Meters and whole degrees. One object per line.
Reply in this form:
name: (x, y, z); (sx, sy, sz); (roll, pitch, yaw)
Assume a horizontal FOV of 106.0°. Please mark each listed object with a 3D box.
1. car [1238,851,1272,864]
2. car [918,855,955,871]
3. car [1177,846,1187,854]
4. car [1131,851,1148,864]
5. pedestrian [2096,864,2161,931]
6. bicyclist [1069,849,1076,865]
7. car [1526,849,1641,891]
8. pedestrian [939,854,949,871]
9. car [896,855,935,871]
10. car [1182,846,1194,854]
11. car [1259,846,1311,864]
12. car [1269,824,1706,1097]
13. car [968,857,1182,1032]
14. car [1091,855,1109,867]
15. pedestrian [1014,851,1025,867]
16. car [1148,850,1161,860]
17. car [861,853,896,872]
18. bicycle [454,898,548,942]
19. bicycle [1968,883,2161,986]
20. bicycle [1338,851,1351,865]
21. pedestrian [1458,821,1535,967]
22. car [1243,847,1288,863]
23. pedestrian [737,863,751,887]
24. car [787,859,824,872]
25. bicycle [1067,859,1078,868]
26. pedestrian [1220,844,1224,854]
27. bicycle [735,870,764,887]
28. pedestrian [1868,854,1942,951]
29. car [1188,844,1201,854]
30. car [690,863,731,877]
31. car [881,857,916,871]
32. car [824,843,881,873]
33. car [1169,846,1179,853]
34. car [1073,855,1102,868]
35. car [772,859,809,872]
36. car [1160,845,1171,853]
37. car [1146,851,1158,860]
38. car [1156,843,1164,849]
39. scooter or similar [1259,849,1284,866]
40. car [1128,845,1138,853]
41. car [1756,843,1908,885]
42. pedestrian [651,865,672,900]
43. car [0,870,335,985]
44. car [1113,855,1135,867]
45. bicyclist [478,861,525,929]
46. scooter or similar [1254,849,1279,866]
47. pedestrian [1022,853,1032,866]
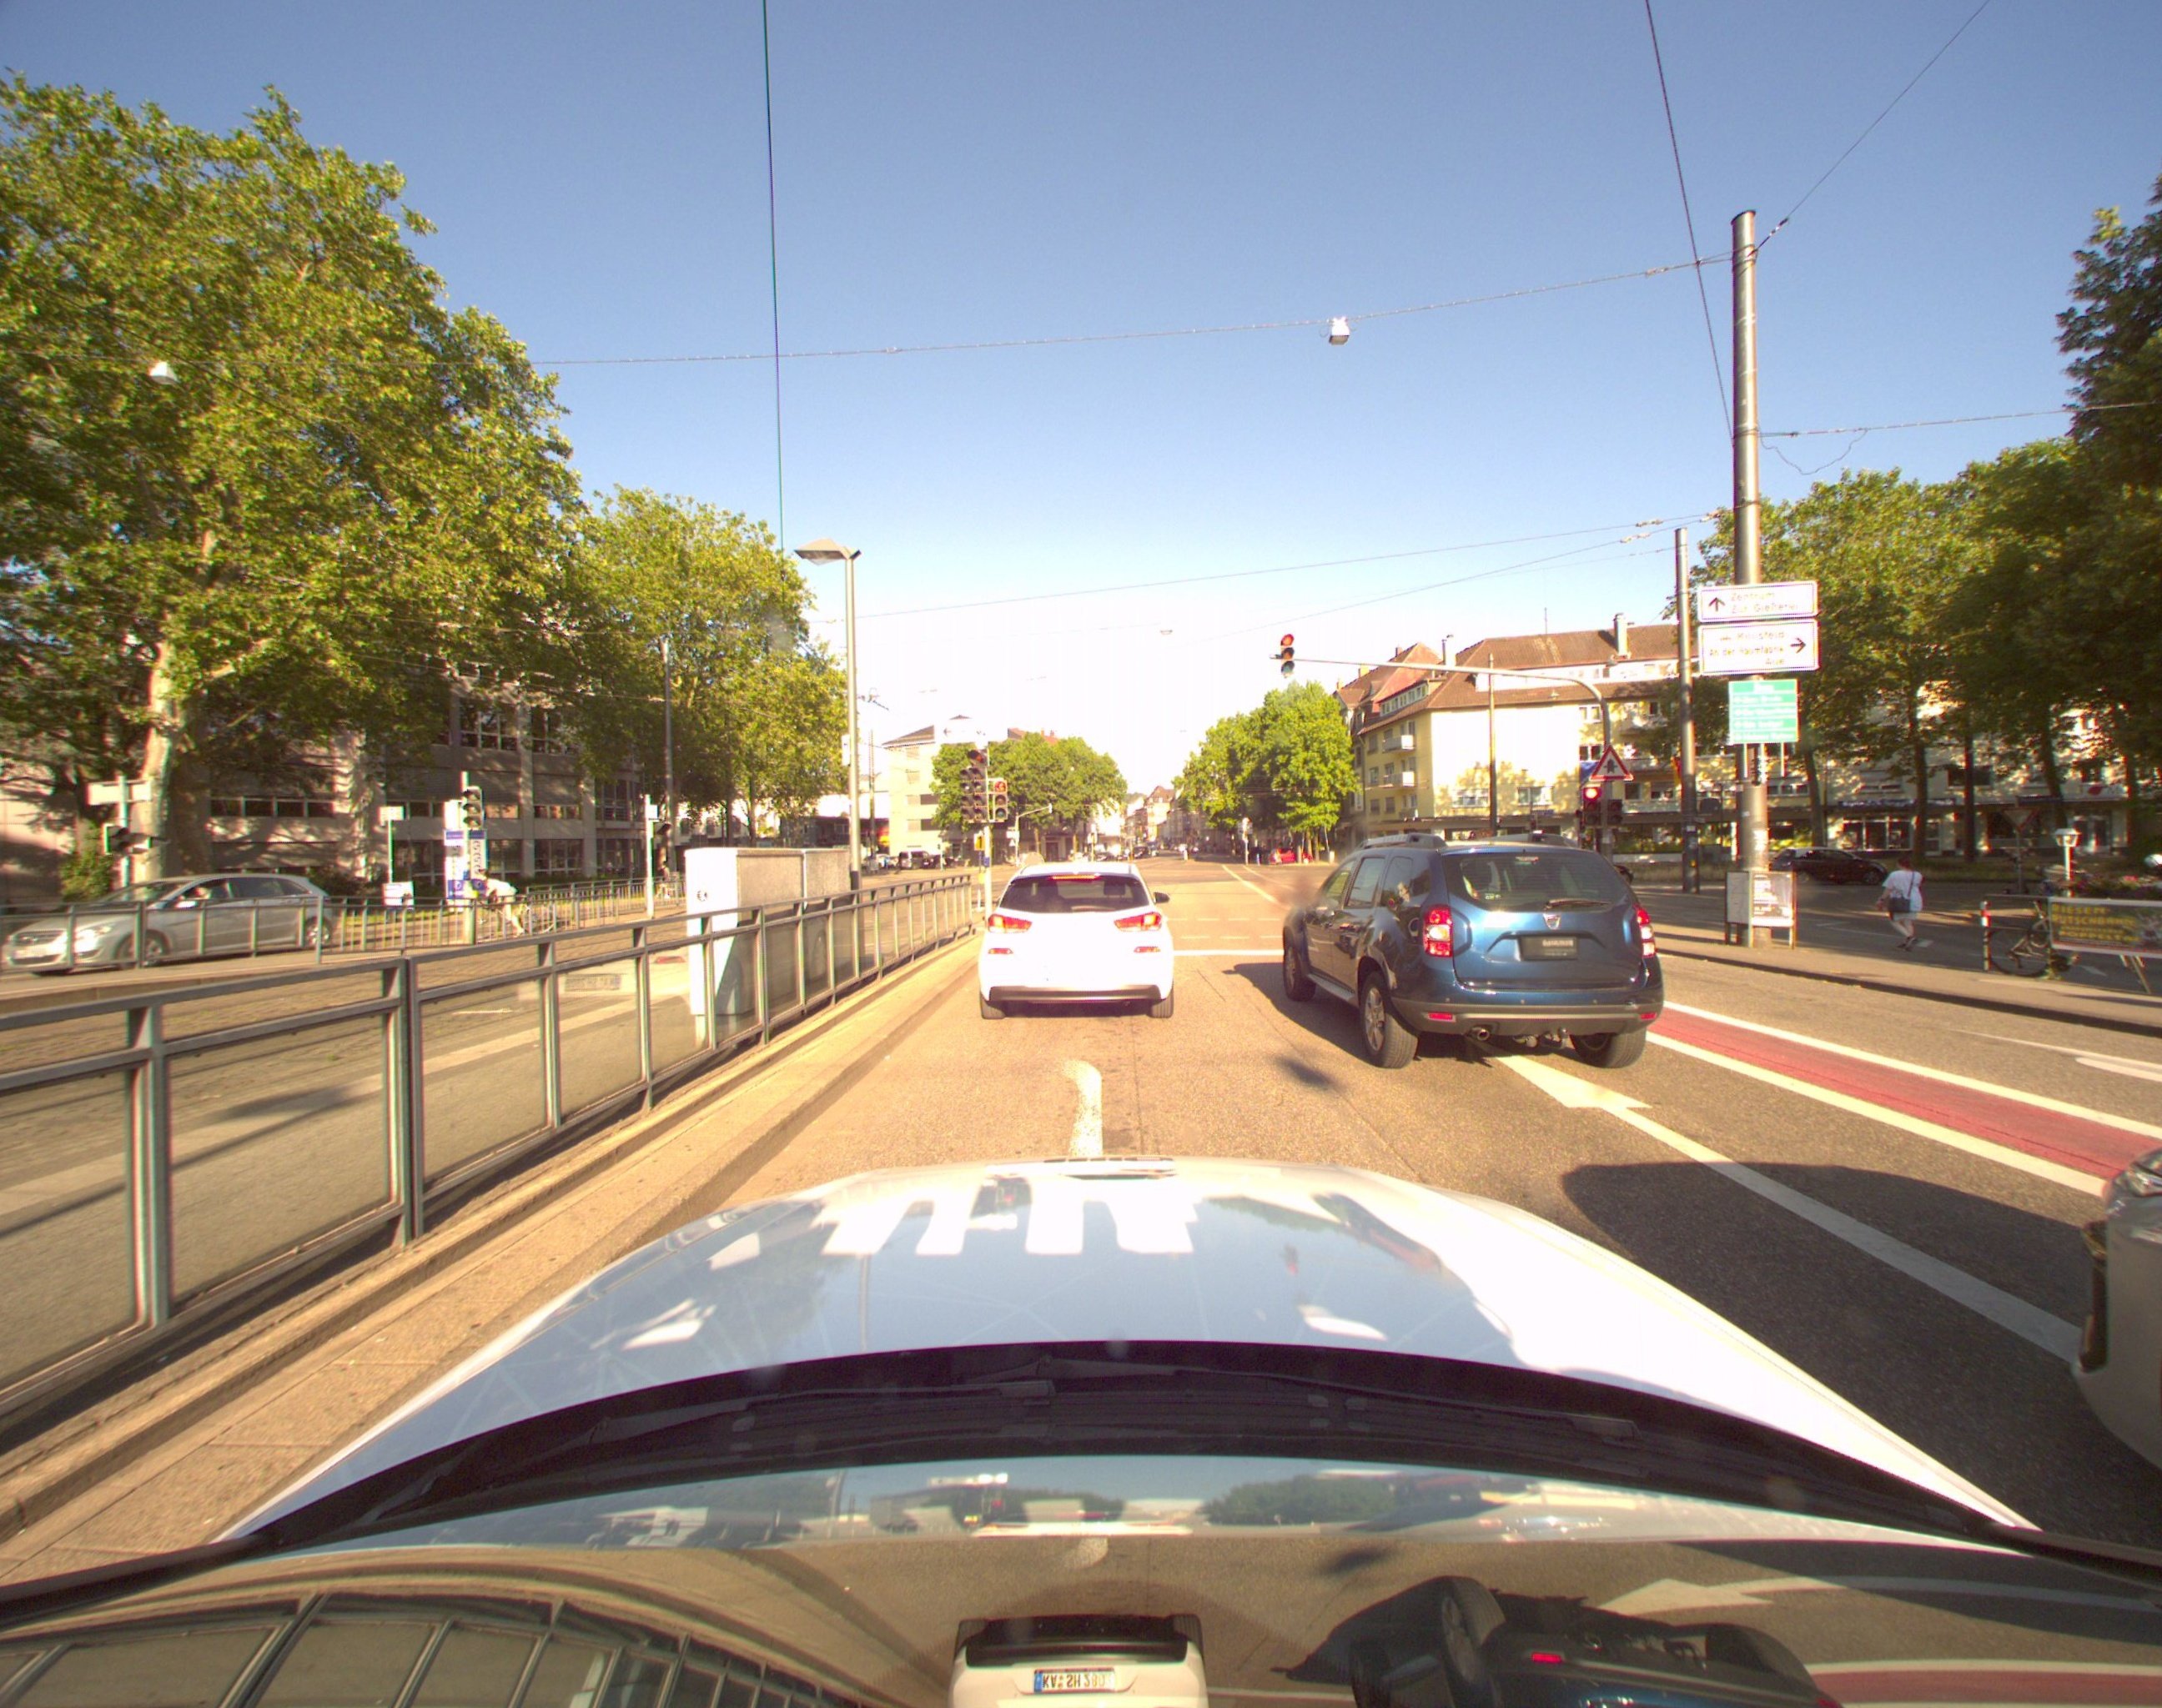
car: (20.288, 0.394, 95.091); (4.021, 1.510, 1.779); (-1, 0, -40)
car: (-15.461, 0.921, 87.245); (1.904, 1.649, 4.203); (-1, 0, 23)
car: (20.515, -0.865, 165.641); (1.787, 1.510, 4.002); (-1, 0, 2)
car: (8.402, 0.507, 116.978); (1.782, 1.826, 4.014); (-1, 0, 12)
pedestrian: (21.731, 0.895, 16.856); (0.645, 1.338, 0.632); (1, 0, 2)
bicyclist: (-0.921, 0.341, 91.351); (0.463, 1.745, 0.721); (-1, 0, 25)
car: (19.004, 0.555, 30.792); (4.051, 1.438, 1.792); (-1, 1, -25)
pedestrian: (-13.989, 0.849, 83.167); (0.642, 1.661, 0.654); (-1, 0, 23)
car: (-17.880, 0.985, 88.017); (1.777, 1.649, 4.035); (-1, 0, 31)
car: (20.973, -0.854, 159.463); (1.787, 1.510, 4.002); (-1, 0, 2)
car: (17.651, 0.093, 70.447); (3.983, 1.510, 1.796); (-1, 0, -7)
car: (2.936, 0.644, 6.971); (1.793, 1.638, 4.046); (-1, 0, 1)
car: (0.003, 0.779, 8.904); (1.801, 1.452, 4.001); (-1, 0, 1)
car: (2.400, 0.871, 101.631); (1.784, 1.510, 4.010); (-2, -1, 9)
pedestrian: (-6.733, 0.528, 88.980); (0.828, 1.771, 0.787); (-1, 0, 27)
car: (11.797, 0.210, 131.519); (1.788, 1.510, 4.001); (-1, 0, 1)
car: (-22.624, 0.909, 91.063); (1.779, 1.955, 4.021); (-1, 0, 21)
bicycle: (-12.553, 1.421, 17.673); (1.623, 0.816, 0.522); (-1, 0, -34)
bicycle: (11.853, 0.910, 9.762); (0.496, 1.075, 1.801); (0, -1, 2)
bicycle: (20.809, 0.298, 64.401); (0.606, 1.107, 1.803); (-1, 0, 6)
pedestrian: (5.529, 0.520, 10.866); (0.654, 1.871, 0.678); (-1, 0, 1)
car: (18.329, 0.070, 80.922); (3.979, 1.510, 1.797); (-1, 0, -4)
pedestrian: (-23.237, 1.439, 56.184); (0.645, 1.661, 0.651); (-1, 0, 4)
car: (-32.340, 1.345, 95.785); (1.778, 1.510, 4.023); (-1, 0, 26)
bicycle: (-0.908, 1.036, 91.346); (0.463, 0.956, 1.777); (-1, 0, 25)
pedestrian: (25.019, -0.911, 144.350); (0.643, 1.651, 0.652); (0, -1, 12)
bicycle: (-23.049, 1.710, 56.657); (1.786, 1.107, 0.501); (-1, 0, 4)
pedestrian: (13.729, 0.788, 13.582); (0.642, 1.563, 0.635); (1, 0, 21)
car: (21.289, -0.990, 152.920); (2.097, 1.776, 4.343); (-1, 0, 2)
car: (-40.703, 1.732, 89.447); (3.952, 1.510, 1.810); (-1, 0, 23)
car: (-20.161, 1.083, 90.096); (1.779, 1.510, 4.031); (-1, 0, 21)
car: (-25.718, 0.408, 92.146); (2.473, 3.165, 6.573); (-1, 0, 25)
car: (21.122, -1.029, 184.879); (1.787, 1.522, 4.002); (-1, 0, 2)
car: (0.786, 0.885, 95.678); (1.707, 1.510, 3.899); (-2, -1, 27)
car: (-34.687, 1.379, 97.214); (1.778, 1.510, 4.023); (-1, 0, 26)
car: (21.711, -1.185, 209.906); (2.318, 2.013, 4.978); (-1, 0, 2)
car: (12.137, 0.210, 139.503); (1.788, 1.510, 4.001); (-1, 0, 1)
car: (20.942, -2.007, 215.402); (1.787, 1.510, 4.002); (-1, 0, 2)
scooter or similar: (15.224, 0.288, 65.195); (1.926, 1.280, 0.557); (-1, 0, 43)
car: (9.863, -1.006, 154.507); (1.788, 1.510, 4.001); (-1, 0, 1)
car: (28.773, 0.362, 31.339); (3.960, 1.510, 1.806); (-1, 1, 12)
pedestrian: (-18.691, 1.264, 36.288); (0.533, 1.552, 0.677); (-1, 0, 1)
car: (-16.366, 1.188, 14.720); (1.808, 1.692, 4.163); (0, 0, 2)
car: (5.864, 0.902, 109.603); (1.779, 1.510, 4.020); (-2, -1, 21)
bicyclist: (-12.563, 0.880, 17.675); (0.806, 1.414, 0.522); (-1, 0, -34)
scooter or similar: (14.740, 0.282, 64.658); (1.926, 1.280, 0.557); (-1, 0, 43)
pedestrian: (-6.037, 0.632, 90.742); (0.795, 1.484, 0.867); (-1, 0, 28)
